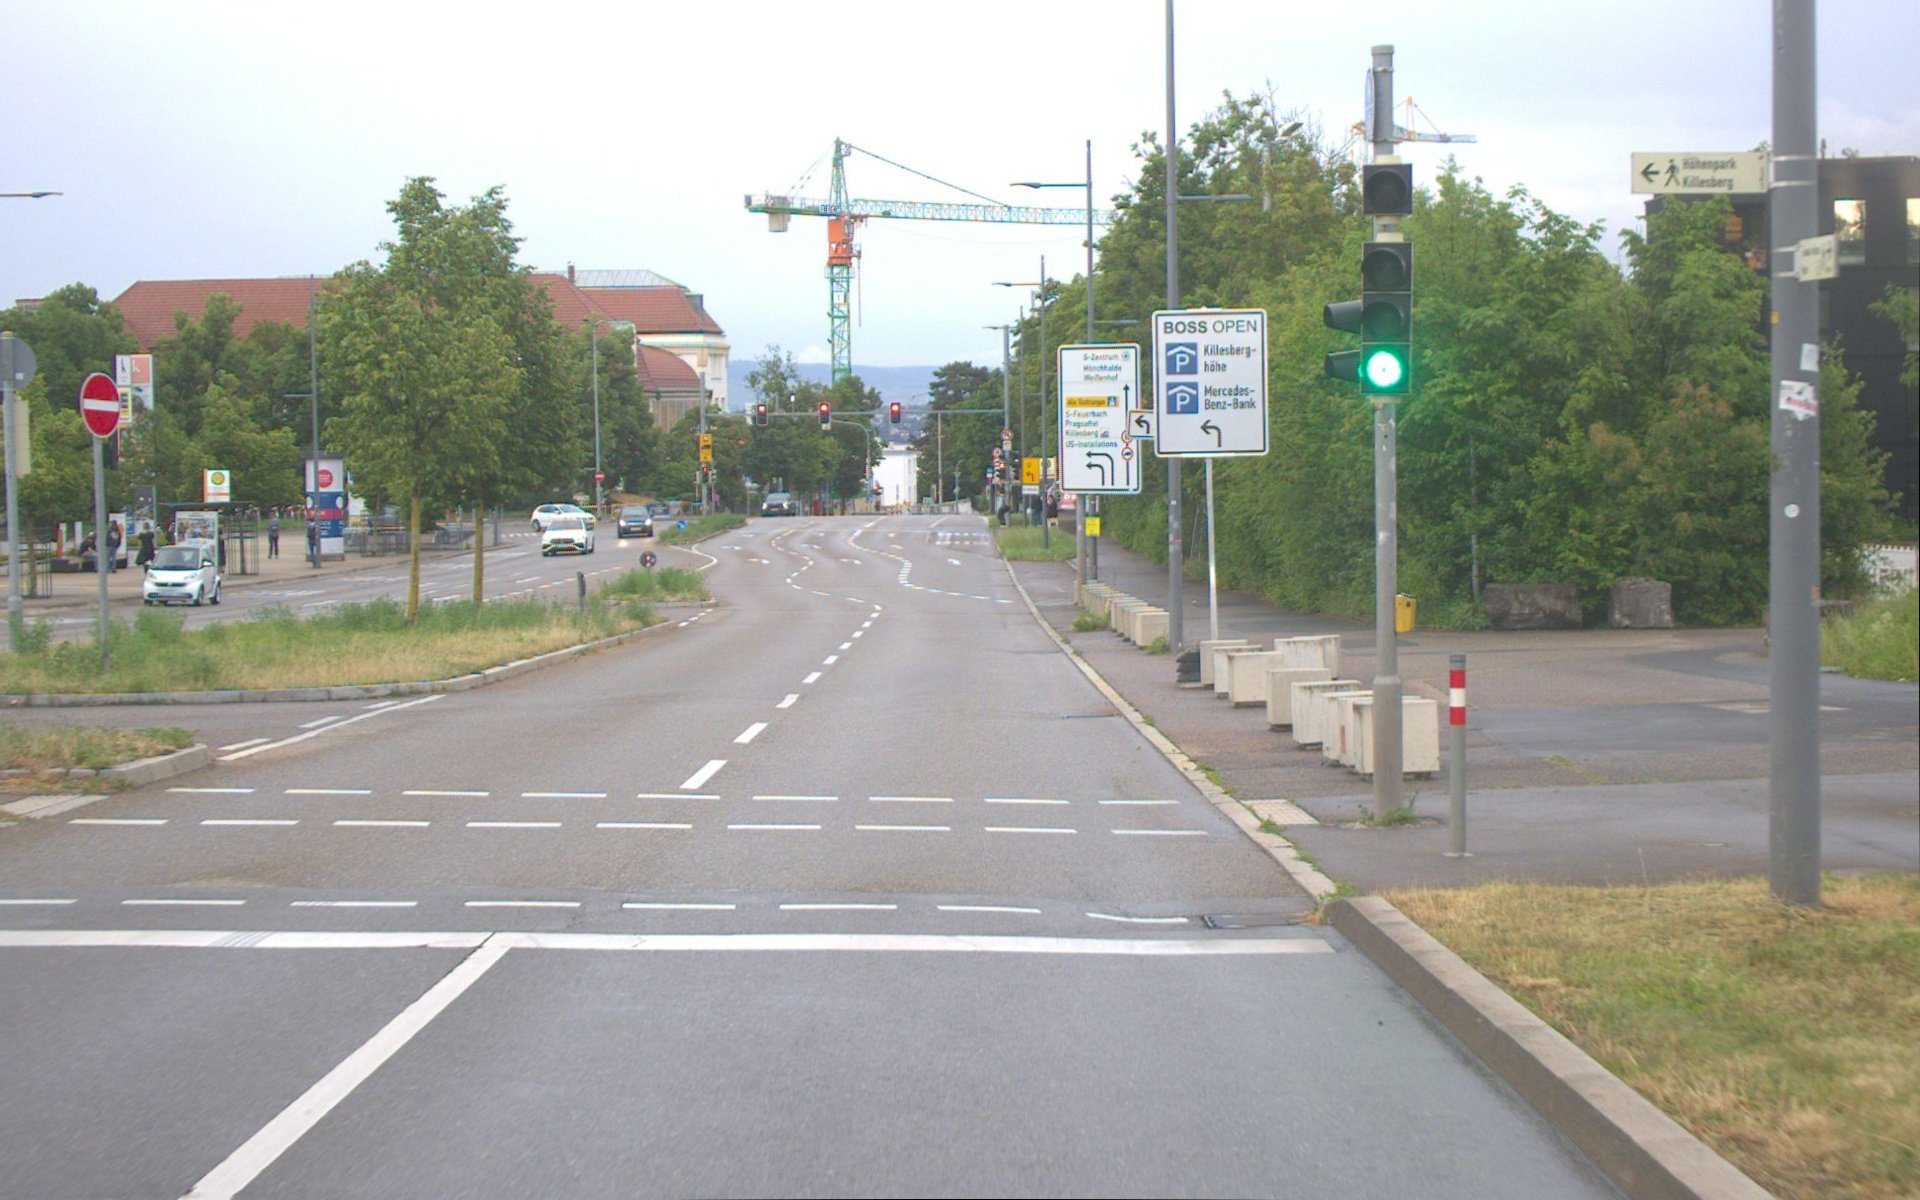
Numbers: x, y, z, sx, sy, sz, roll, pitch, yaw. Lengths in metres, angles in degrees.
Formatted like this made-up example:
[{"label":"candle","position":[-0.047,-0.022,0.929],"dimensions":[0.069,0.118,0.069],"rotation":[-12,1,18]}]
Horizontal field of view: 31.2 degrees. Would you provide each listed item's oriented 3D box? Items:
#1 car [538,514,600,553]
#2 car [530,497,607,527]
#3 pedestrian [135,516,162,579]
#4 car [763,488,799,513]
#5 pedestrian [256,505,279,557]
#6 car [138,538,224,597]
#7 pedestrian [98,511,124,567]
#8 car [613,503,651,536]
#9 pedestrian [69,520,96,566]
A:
[{"label":"car","position":[-15.908,-2.710,139.967],"dimensions":[1.769,1.489,4.067],"rotation":[-1,0,4]},{"label":"car","position":[-21.017,-4.708,184.358],"dimensions":[3.880,1.489,1.734],"rotation":[-1,0,33]},{"label":"pedestrian","position":[-25.321,-1.623,107.293],"dimensions":[0.748,1.940,0.838],"rotation":[-1,0,-18]},{"label":"car","position":[-11.762,-6.524,226.257],"dimensions":[1.769,1.489,4.067],"rotation":[-1,0,5]},{"label":"pedestrian","position":[-26.602,-2.650,132.067],"dimensions":[0.748,2.007,0.838],"rotation":[-1,0,-18]},{"label":"car","position":[-20.286,-0.840,89.580],"dimensions":[1.478,1.489,2.530],"rotation":[-1,0,5]},{"label":"pedestrian","position":[-28.348,-2.032,114.774],"dimensions":[0.748,1.846,0.838],"rotation":[-1,0,-18]},{"label":"car","position":[-16.119,-3.965,169.217],"dimensions":[1.769,1.489,4.068],"rotation":[-1,0,-4]},{"label":"pedestrian","position":[-29.345,-1.900,114.936],"dimensions":[0.835,1.527,0.751],"rotation":[-1,0,-13]}]
